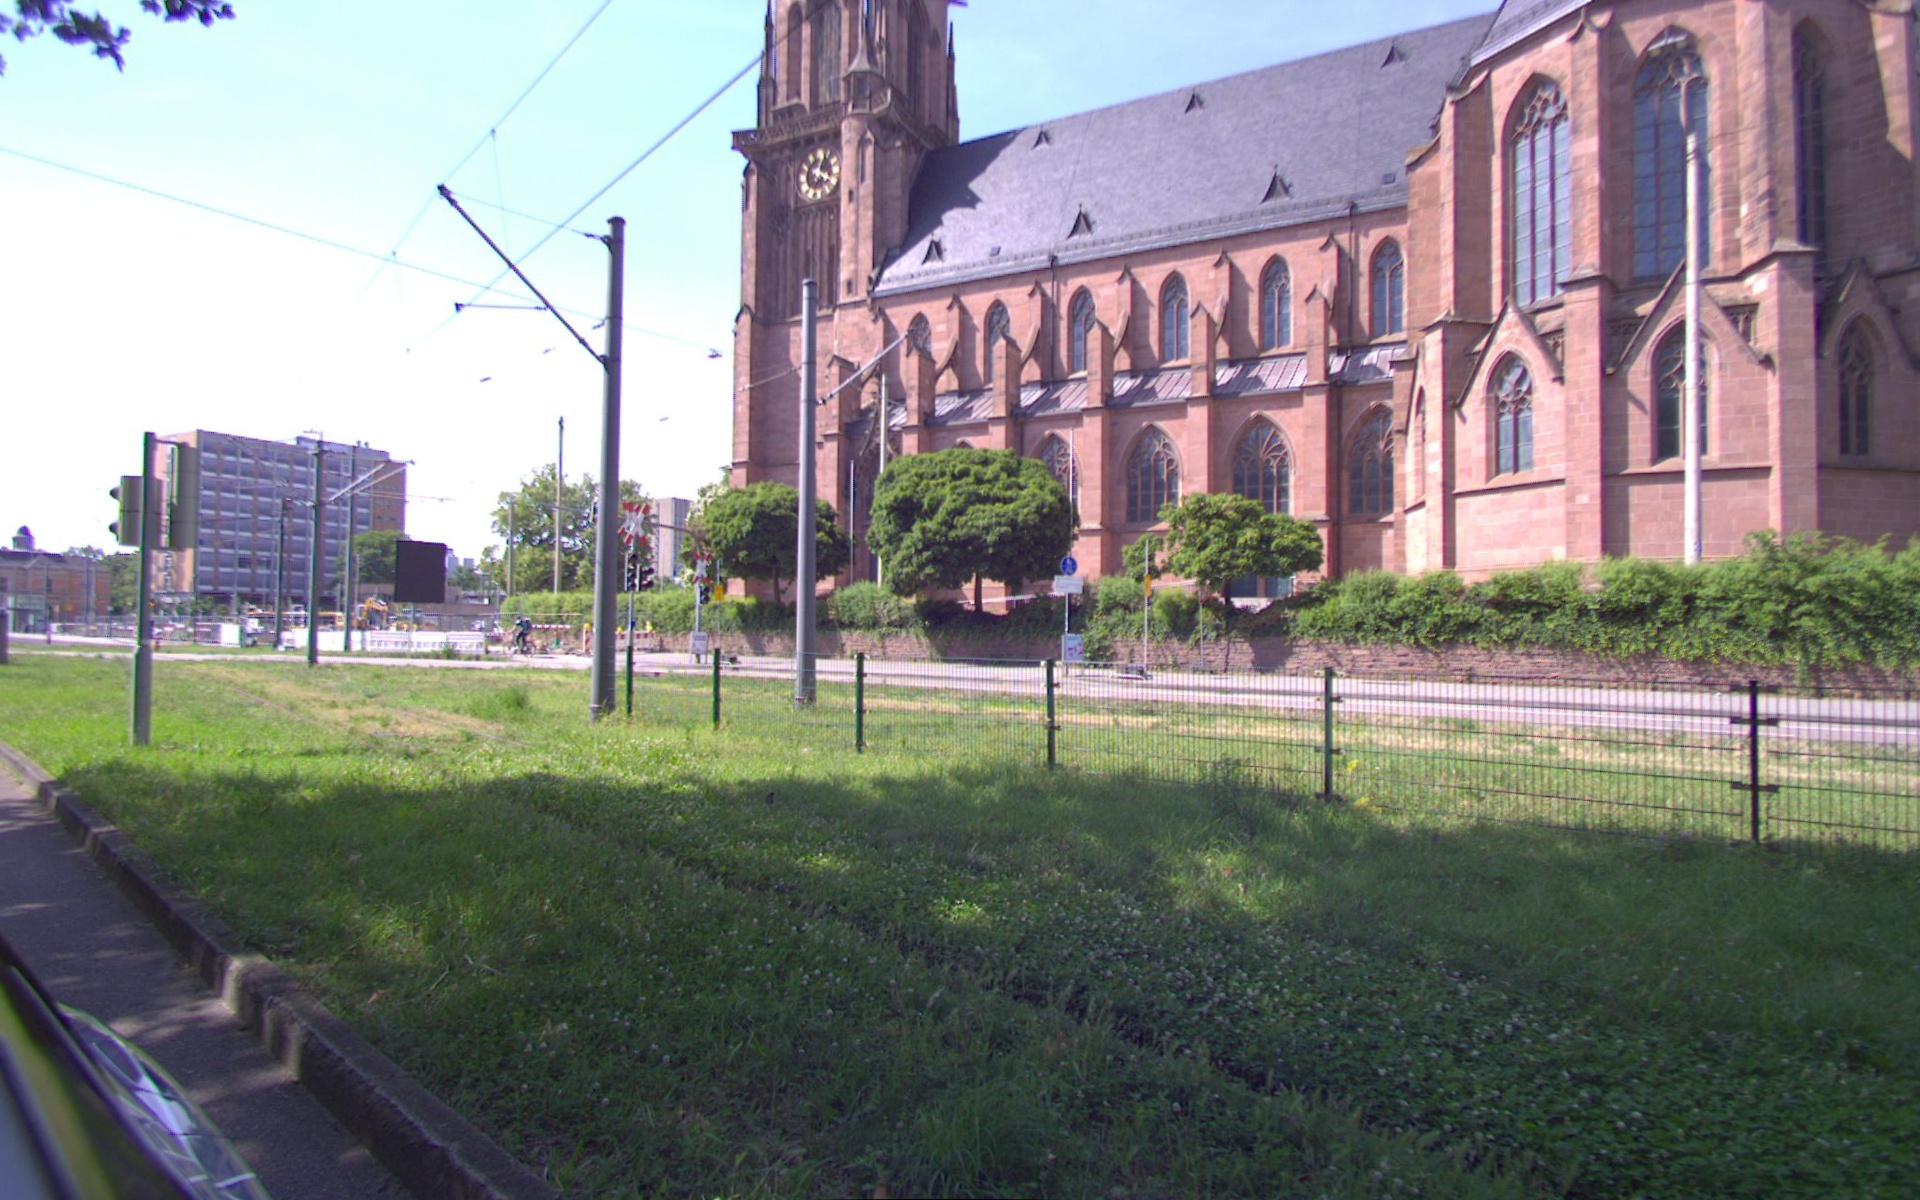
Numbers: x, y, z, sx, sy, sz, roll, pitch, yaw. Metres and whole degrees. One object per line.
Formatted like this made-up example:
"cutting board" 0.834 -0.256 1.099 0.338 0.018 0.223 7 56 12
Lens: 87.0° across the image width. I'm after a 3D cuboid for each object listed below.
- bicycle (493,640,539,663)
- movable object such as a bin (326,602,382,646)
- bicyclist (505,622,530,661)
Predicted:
"bicycle" -20.426 2.360 46.591 1.951 1.054 0.654 0 -2 15
"movable object such as a bin" -54.844 2.178 91.637 2.903 3.911 3.328 0 -2 6
"bicyclist" -20.390 1.926 46.600 0.787 1.775 0.642 0 -2 15
